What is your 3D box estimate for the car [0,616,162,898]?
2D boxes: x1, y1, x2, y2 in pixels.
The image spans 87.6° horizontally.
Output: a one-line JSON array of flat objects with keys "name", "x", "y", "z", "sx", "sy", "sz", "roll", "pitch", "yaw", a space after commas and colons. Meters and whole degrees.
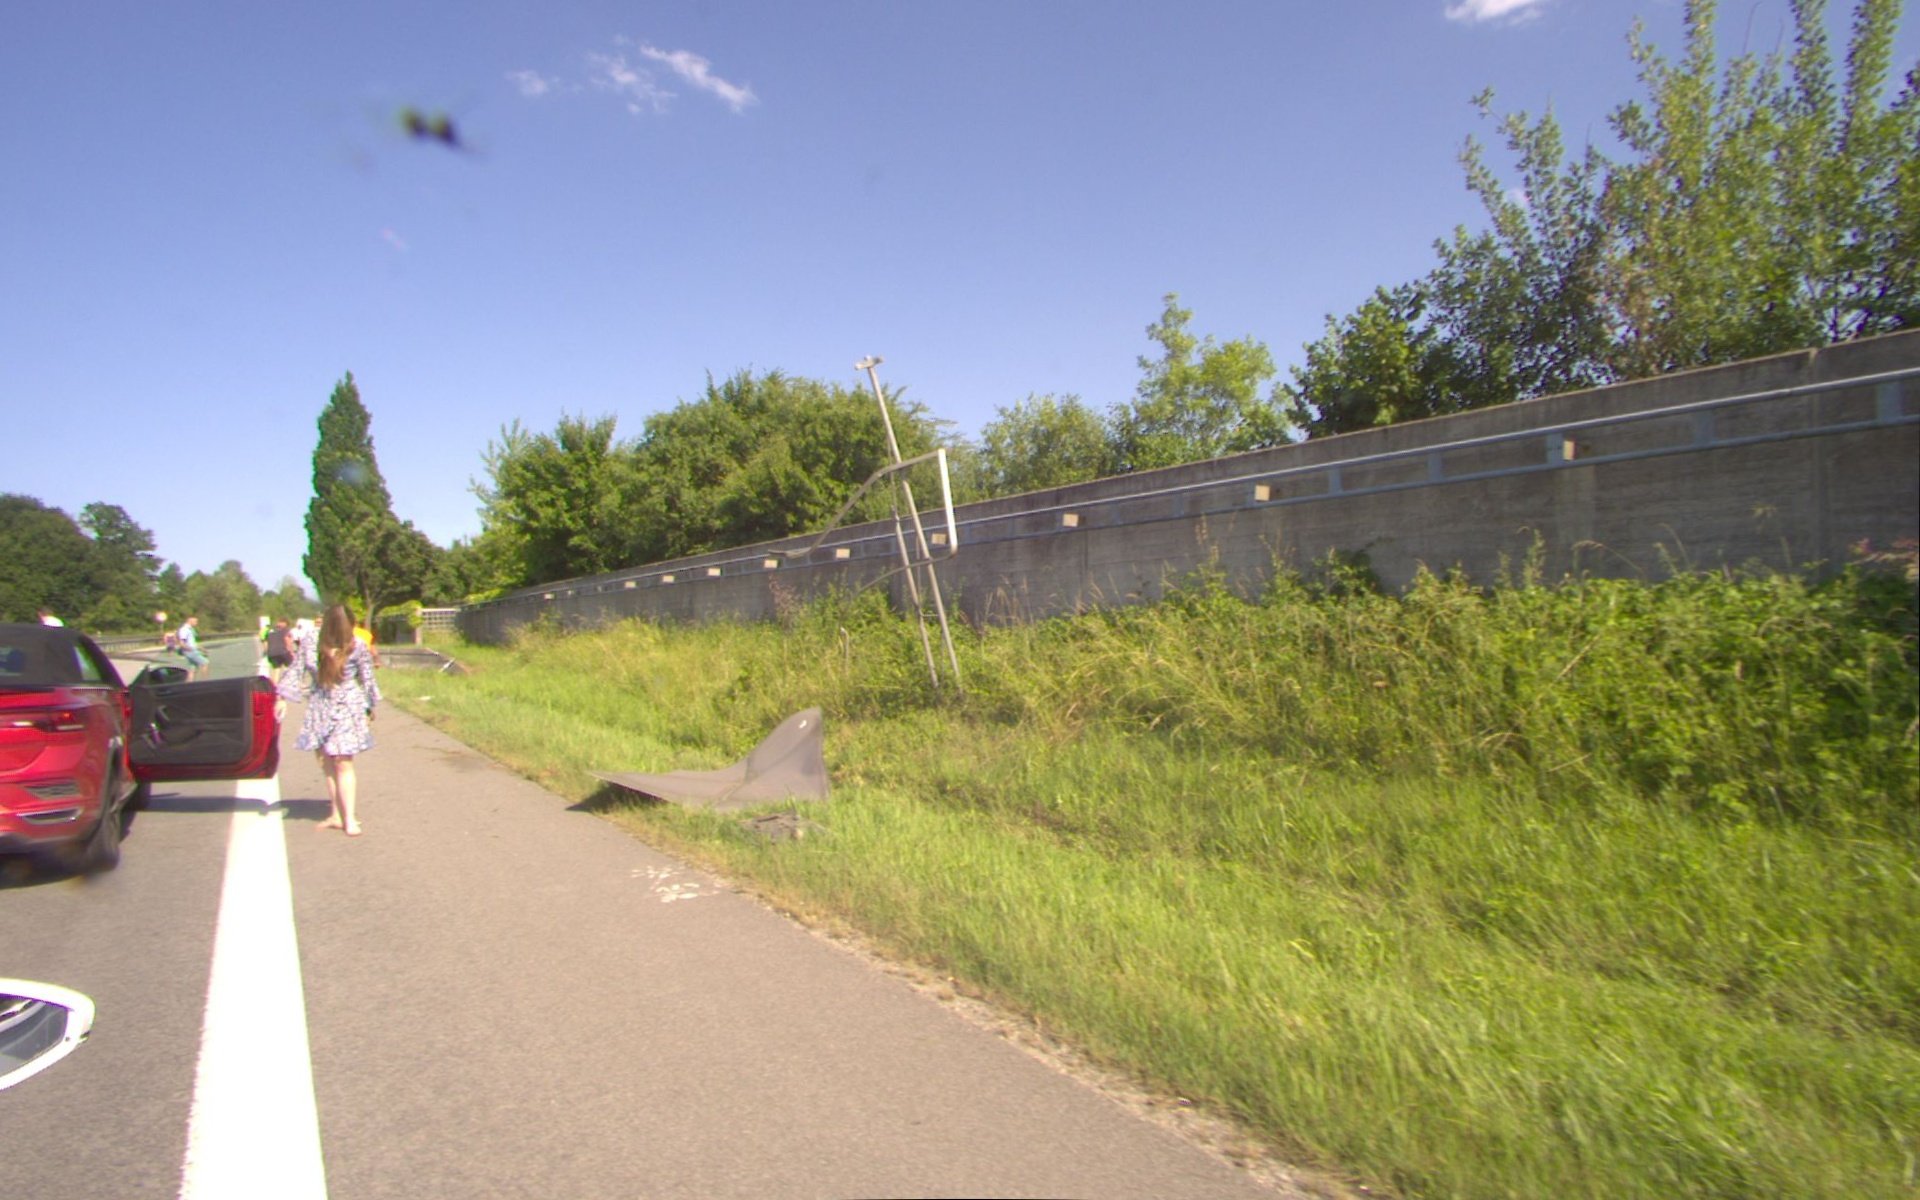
[{"name": "car", "x": -6.692, "y": 0.873, "z": 6.810, "sx": 1.716, "sy": 1.506, "sz": 4.182, "roll": 1, "pitch": -2, "yaw": -35}]

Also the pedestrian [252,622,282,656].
[{"name": "pedestrian", "x": -35.278, "y": 1.993, "z": 50.966, "sx": 1.100, "sy": 1.711, "sz": 0.969, "roll": 1, "pitch": -1, "yaw": -27}]

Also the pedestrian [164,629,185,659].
[{"name": "pedestrian", "x": -44.149, "y": 2.471, "z": 56.301, "sx": 0.783, "sy": 1.711, "sz": 0.788, "roll": 1, "pitch": -1, "yaw": -30}]

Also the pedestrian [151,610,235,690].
[{"name": "pedestrian", "x": -17.781, "y": 1.148, "z": 23.244, "sx": 1.086, "sy": 1.811, "sz": 1.092, "roll": 0, "pitch": -1, "yaw": -4}]

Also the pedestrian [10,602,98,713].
[{"name": "pedestrian", "x": -16.537, "y": 1.012, "z": 18.311, "sx": 1.097, "sy": 1.937, "sz": 1.247, "roll": -1, "pitch": 0, "yaw": -40}]

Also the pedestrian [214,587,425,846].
[{"name": "pedestrian", "x": -4.618, "y": 0.788, "z": 7.324, "sx": 0.876, "sy": 1.718, "sz": 1.128, "roll": -1, "pitch": 0, "yaw": -8}]

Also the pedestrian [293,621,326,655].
[{"name": "pedestrian", "x": -33.206, "y": 1.948, "z": 51.126, "sx": 0.981, "sy": 1.711, "sz": 1.010, "roll": 0, "pitch": -1, "yaw": 15}]

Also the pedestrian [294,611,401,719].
[{"name": "pedestrian", "x": -9.975, "y": 1.026, "z": 16.322, "sx": 1.258, "sy": 1.675, "sz": 0.957, "roll": -1, "pitch": 0, "yaw": 27}]

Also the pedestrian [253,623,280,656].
[{"name": "pedestrian", "x": -36.517, "y": 2.055, "z": 52.737, "sx": 1.044, "sy": 1.711, "sz": 1.012, "roll": 1, "pitch": -1, "yaw": -29}]

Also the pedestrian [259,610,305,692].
[{"name": "pedestrian", "x": -15.053, "y": 1.130, "z": 22.245, "sx": 0.803, "sy": 1.782, "sz": 0.823, "roll": 1, "pitch": -1, "yaw": -33}]

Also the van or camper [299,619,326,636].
[{"name": "van or camper", "x": -87.232, "y": 3.717, "z": 134.949, "sx": 1.965, "sy": 2.345, "sz": 4.463, "roll": 0, "pitch": -2, "yaw": -18}]

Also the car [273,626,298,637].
[{"name": "car", "x": -92.621, "y": 4.360, "z": 137.521, "sx": 1.708, "sy": 1.506, "sz": 4.202, "roll": 1, "pitch": -1, "yaw": -19}]

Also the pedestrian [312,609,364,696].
[{"name": "pedestrian", "x": -12.924, "y": 1.081, "z": 20.817, "sx": 0.885, "sy": 1.747, "sz": 0.750, "roll": 1, "pitch": -1, "yaw": -33}]
